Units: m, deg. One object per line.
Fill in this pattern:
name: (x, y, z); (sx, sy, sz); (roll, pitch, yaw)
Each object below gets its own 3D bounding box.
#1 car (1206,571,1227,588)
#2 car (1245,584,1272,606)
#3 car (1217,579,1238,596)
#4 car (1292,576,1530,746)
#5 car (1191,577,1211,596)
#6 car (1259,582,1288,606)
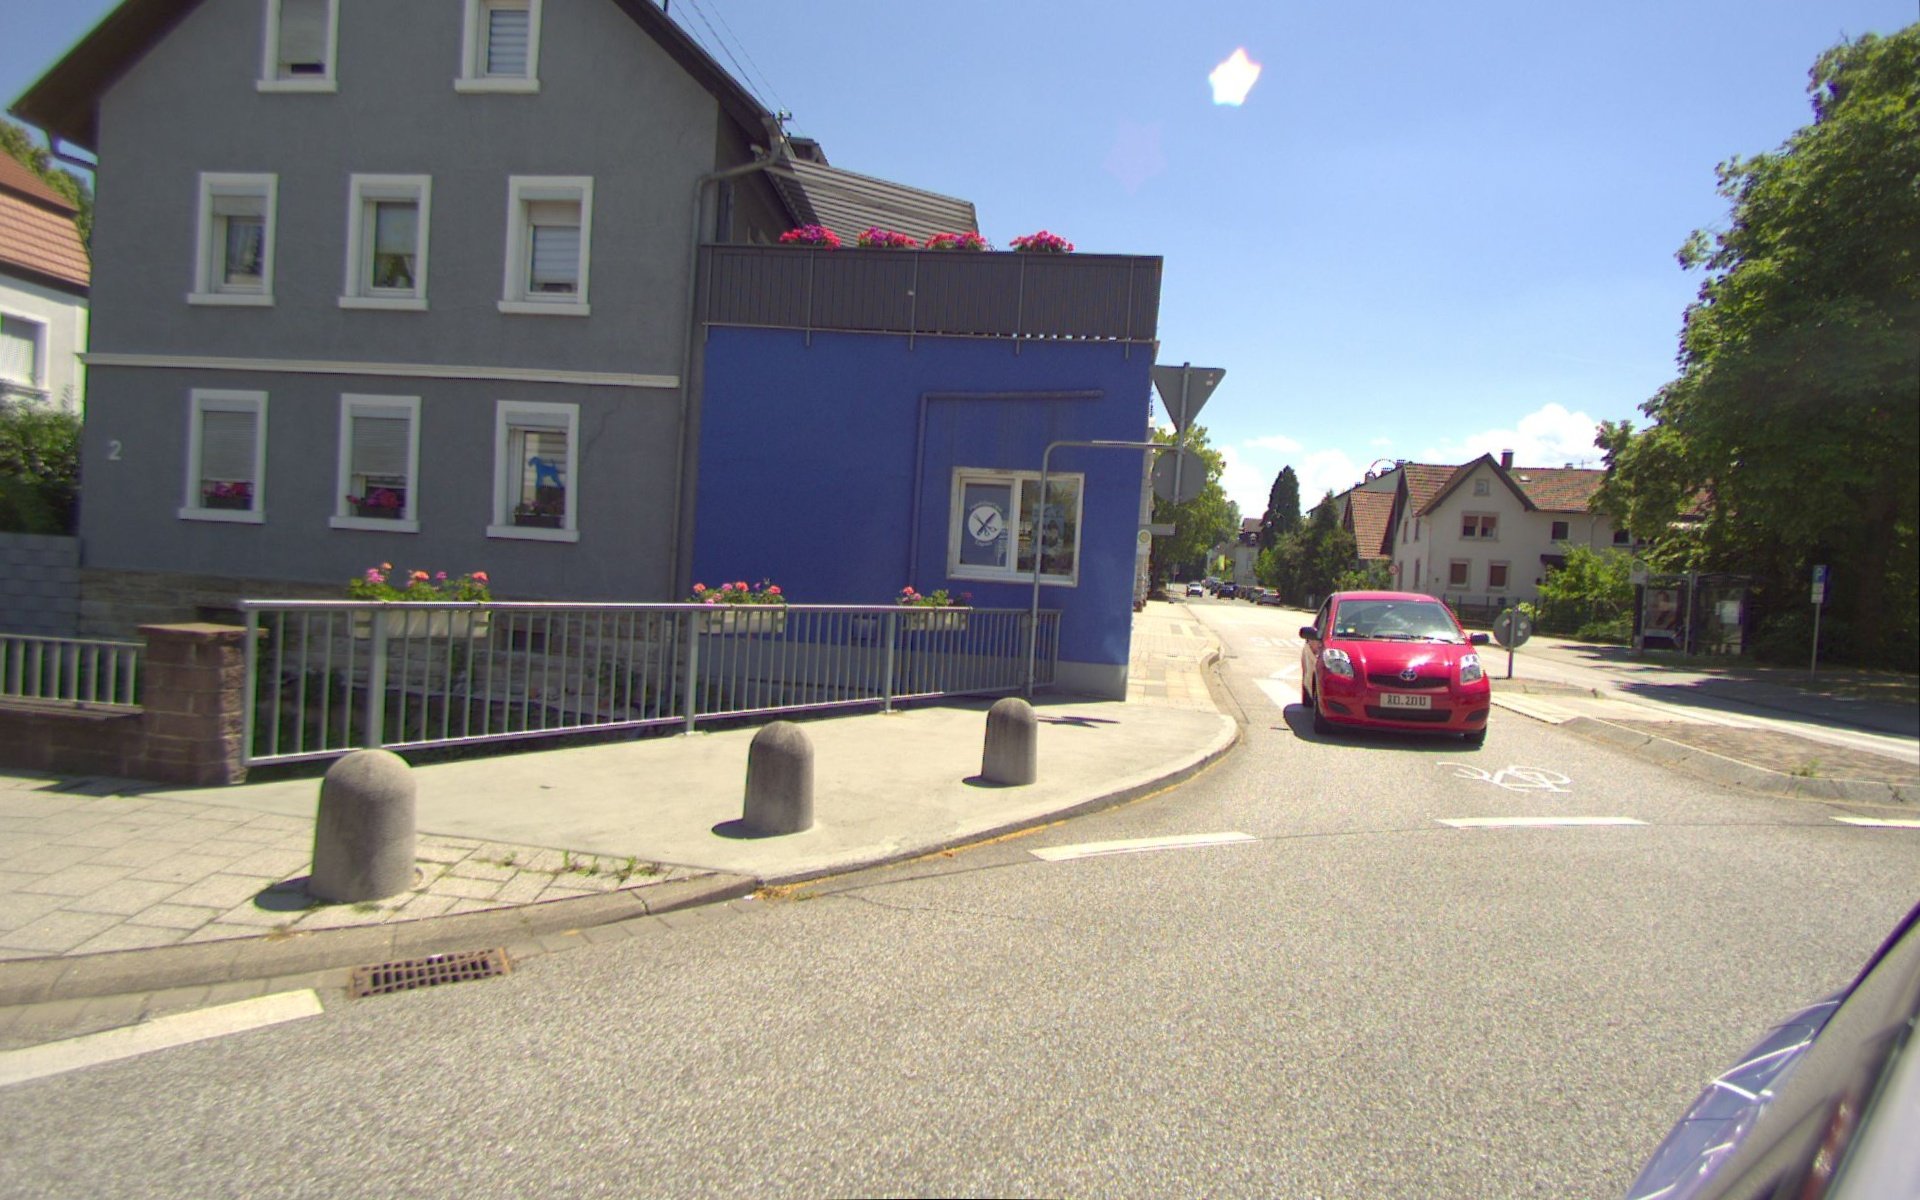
car: (33.182, -2.641, 131.042); (1.967, 2.039, 3.991); (5, 0, 8)
car: (30.963, -0.532, 105.041); (1.967, 2.039, 3.991); (5, 0, 8)
car: (29.868, -1.344, 113.226); (1.711, 1.727, 3.990); (2, 0, 8)
car: (4.894, 0.537, 11.554); (1.808, 1.552, 3.982); (1, 1, 15)
car: (28.831, -1.561, 120.933); (1.969, 2.039, 3.986); (5, 0, 11)
car: (29.164, -0.537, 94.246); (1.969, 2.039, 3.986); (5, 0, 11)
